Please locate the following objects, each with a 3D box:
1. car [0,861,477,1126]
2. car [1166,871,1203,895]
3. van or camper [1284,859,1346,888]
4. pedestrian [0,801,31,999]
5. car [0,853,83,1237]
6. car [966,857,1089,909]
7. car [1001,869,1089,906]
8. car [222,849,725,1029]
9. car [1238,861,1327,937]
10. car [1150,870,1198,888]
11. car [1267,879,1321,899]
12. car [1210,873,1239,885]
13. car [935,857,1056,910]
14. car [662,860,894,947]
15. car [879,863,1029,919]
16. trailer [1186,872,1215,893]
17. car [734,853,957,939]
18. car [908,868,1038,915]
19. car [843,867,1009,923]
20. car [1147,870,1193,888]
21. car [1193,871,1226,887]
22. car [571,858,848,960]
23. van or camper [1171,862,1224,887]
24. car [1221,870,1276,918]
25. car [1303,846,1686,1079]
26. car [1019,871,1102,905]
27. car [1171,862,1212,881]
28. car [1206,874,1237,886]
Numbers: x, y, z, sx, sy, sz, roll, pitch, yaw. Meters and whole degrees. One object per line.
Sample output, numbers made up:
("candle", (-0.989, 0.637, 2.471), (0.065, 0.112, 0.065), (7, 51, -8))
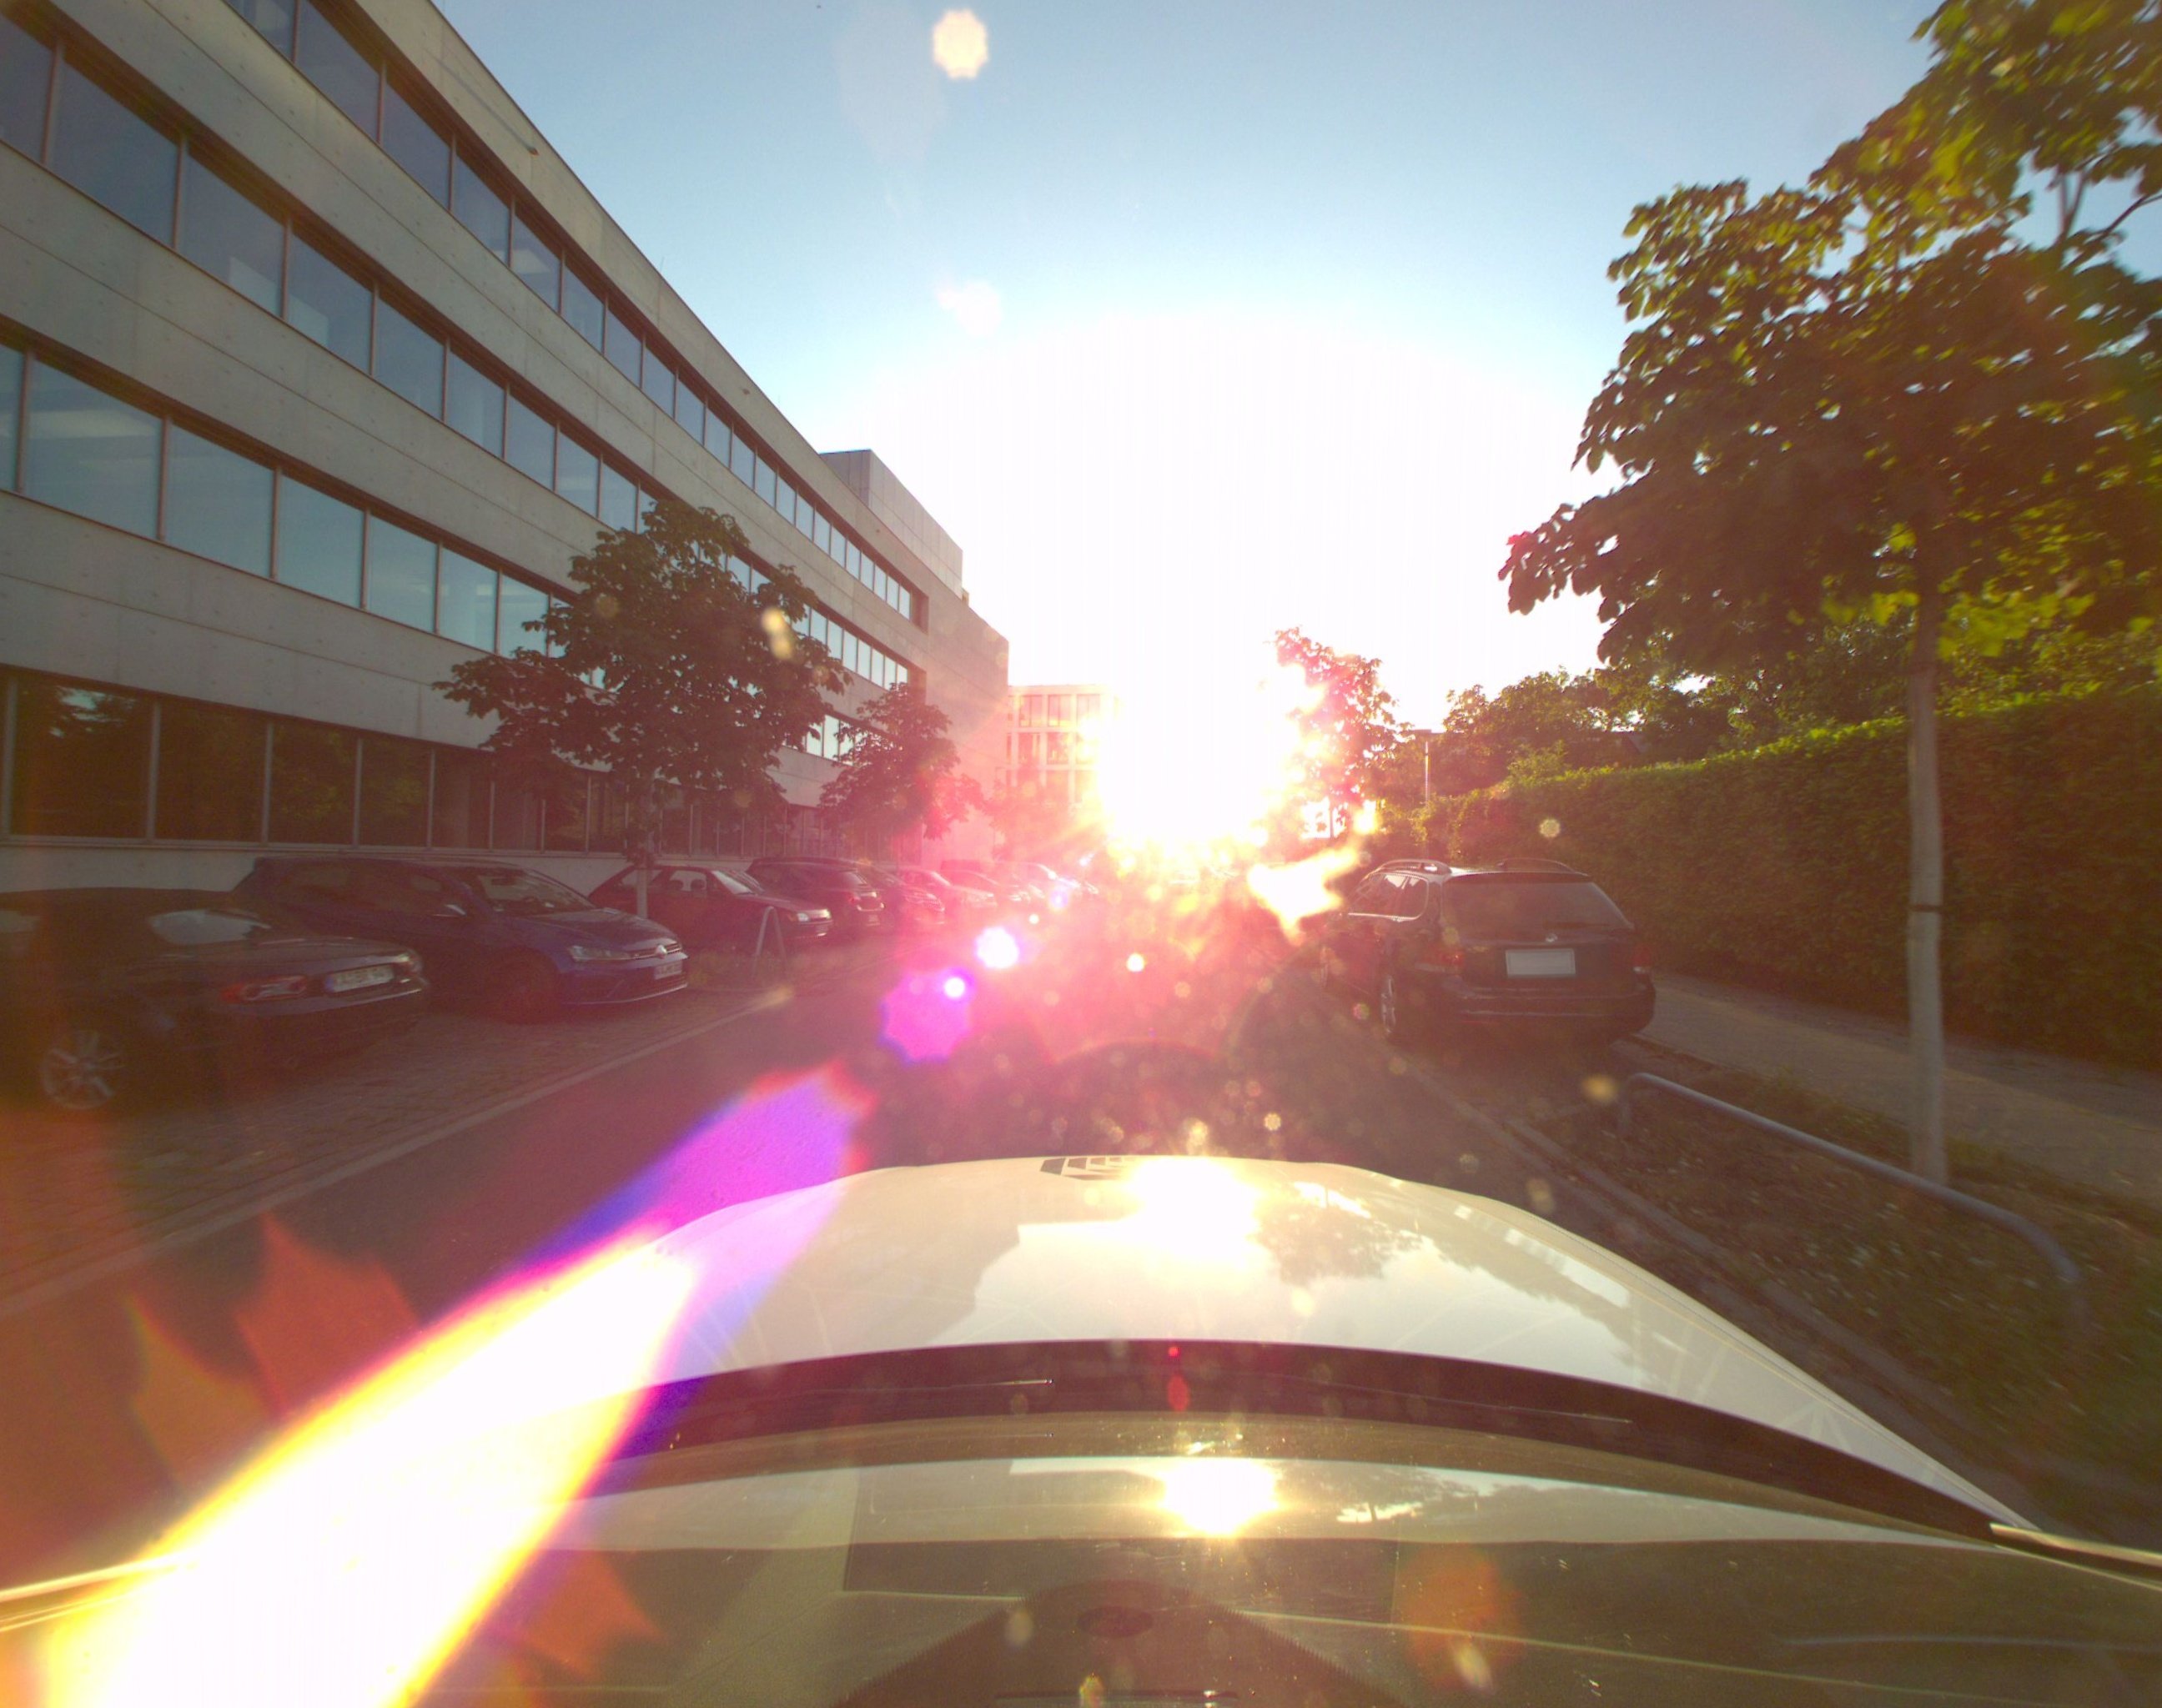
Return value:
("car", (-6.455, 0.787, 5.333), (3.623, 1.362, 1.684), (2, -1, -2))
("car", (7.665, 2.140, 59.891), (1.937, 1.686, 4.741), (-1, -3, 17))
("van or camper", (22.776, 1.898, 79.503), (5.571, 2.790, 2.438), (-1, -1, 13))
("pedestrian", (-10.055, 0.405, 7.135), (0.643, 1.784, 0.725), (2, -1, 3))
("car", (-6.260, 0.688, 2.570), (3.973, 1.511, 1.760), (2, -1, 0))
("car", (-2.326, 1.270, 36.182), (5.045, 1.947, 1.894), (3, -2, 9))
("car", (-1.717, 1.620, 39.470), (3.964, 1.522, 1.609), (3, -2, 9))
("car", (-6.038, 0.785, 8.430), (3.854, 1.511, 1.761), (2, -1, 3))
("car", (4.349, 0.939, 17.968), (1.568, 1.510, 3.504), (0, -2, 8))
("car", (8.338, 2.216, 72.719), (4.021, 1.479, 1.774), (2, 0, 14))
("car", (16.725, 2.749, 64.163), (4.022, 1.479, 1.773), (-1, -1, 12))
("car", (18.707, 3.215, 106.133), (3.531, 1.479, 1.464), (-1, -1, 17))
("car", (-3.245, 1.132, 31.370), (4.222, 1.742, 1.728), (3, -2, 9))
("car", (-5.667, 0.898, 15.500), (3.684, 1.458, 1.681), (1, -2, 5))
("car", (-4.066, 1.170, 26.411), (4.368, 1.499, 1.769), (3, -2, 12))
("trailer", (9.477, 2.243, 64.287), (1.693, 1.348, 3.503), (4, 2, 16))
("car", (-5.126, 0.911, 18.135), (4.288, 1.696, 1.899), (1, -2, 5))
("car", (-3.771, 1.301, 28.711), (4.120, 1.404, 1.728), (3, -2, 9))
("car", (-4.495, 1.166, 23.939), (4.408, 1.464, 1.767), (1, -1, 8))
("car", (8.486, 2.354, 77.259), (4.018, 1.479, 1.775), (2, -1, 17))
("car", (14.705, 2.857, 93.309), (3.531, 1.652, 1.464), (-1, -1, 17))
("car", (-5.954, 0.855, 13.347), (3.686, 1.458, 1.713), (1, -2, 3))
("van or camper", (12.673, 2.190, 88.775), (5.409, 2.484, 1.783), (2, 0, 17))
("car", (5.665, 1.322, 27.776), (1.682, 1.510, 4.204), (0, -2, 10))
("car", (3.401, 0.749, 7.782), (1.702, 1.550, 4.554), (0, -1, 5))
("car", (-1.028, 1.700, 41.279), (3.862, 1.489, 1.656), (3, -1, 11))
("car", (11.423, 1.797, 83.961), (4.021, 1.908, 1.742), (-1, -1, 13))
("car", (17.232, 3.212, 100.057), (3.531, 1.479, 1.464), (-1, -1, 17))
